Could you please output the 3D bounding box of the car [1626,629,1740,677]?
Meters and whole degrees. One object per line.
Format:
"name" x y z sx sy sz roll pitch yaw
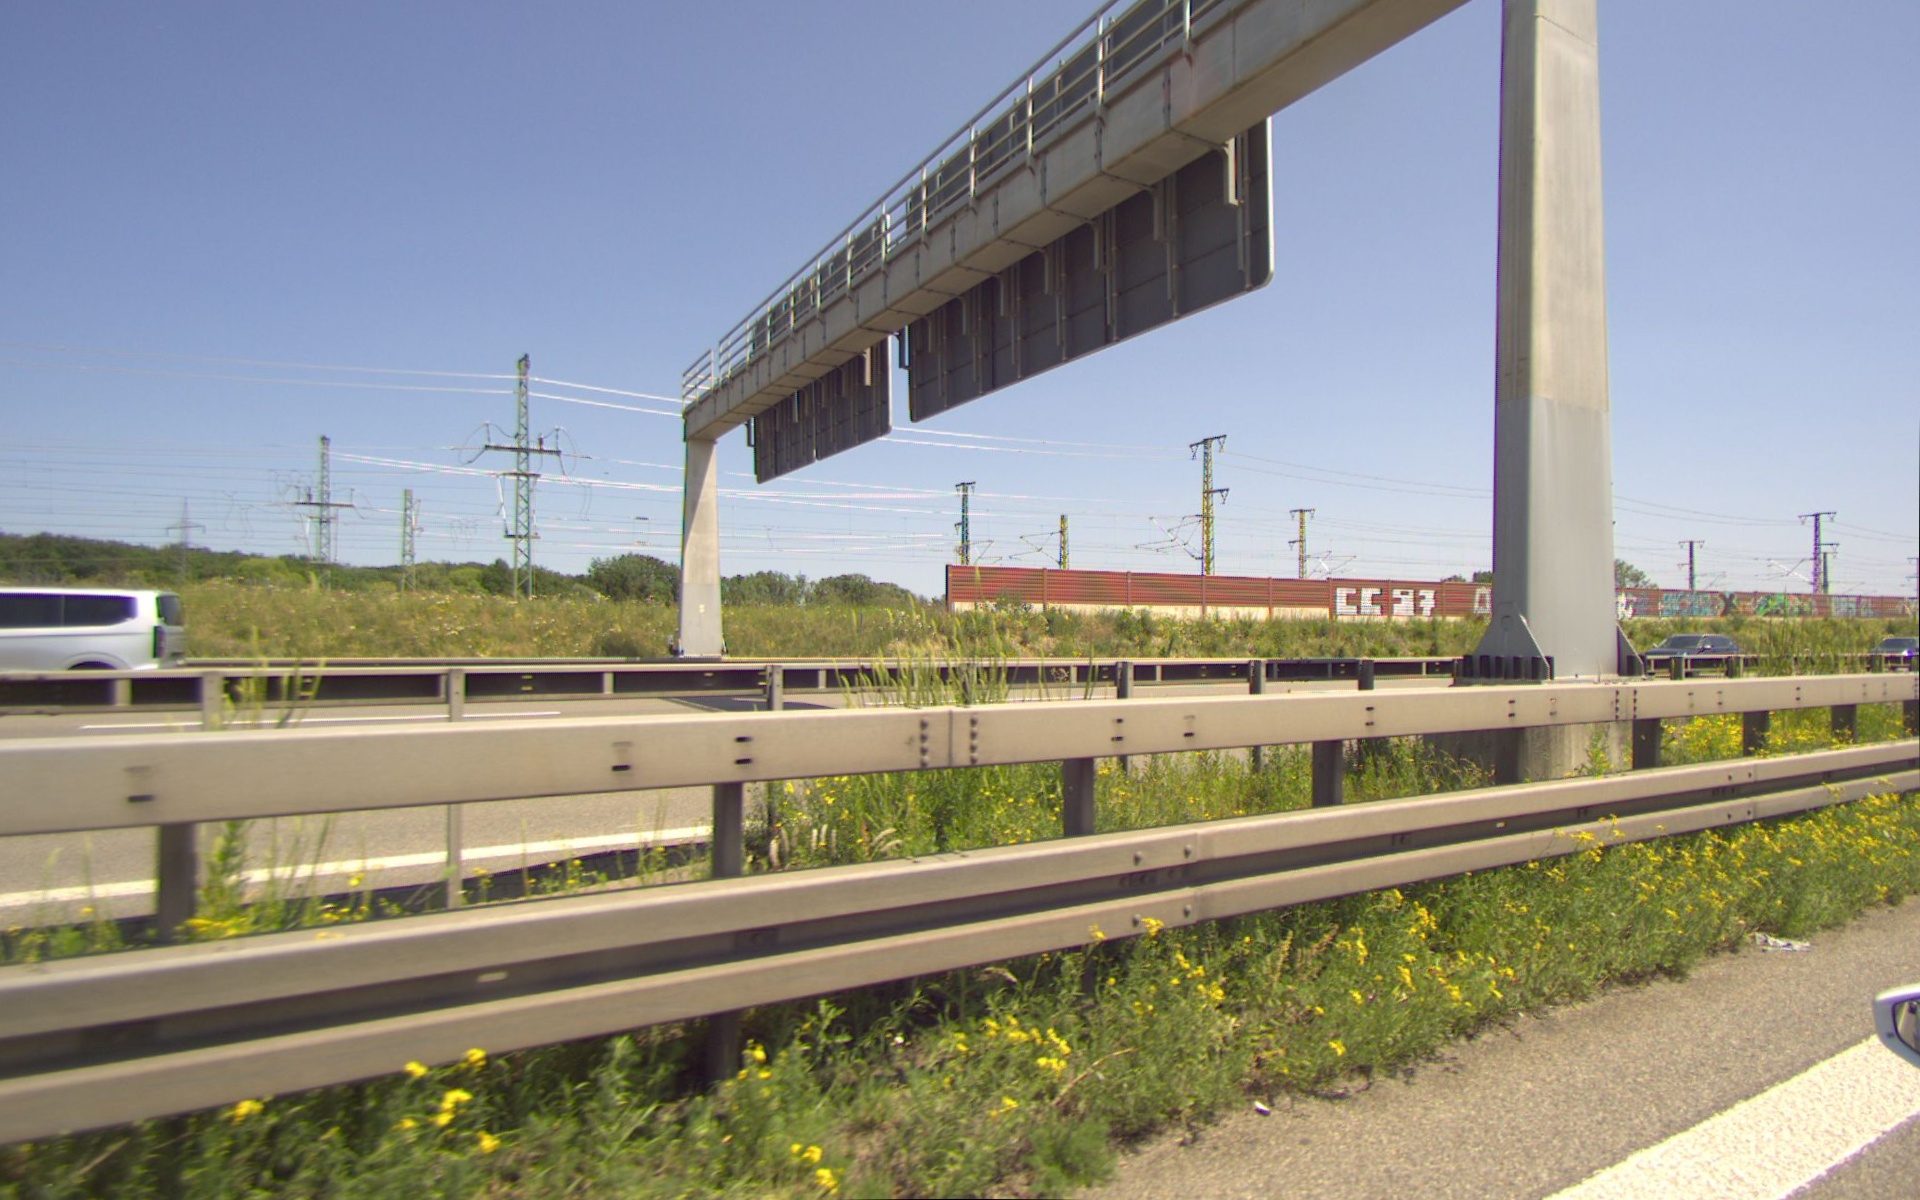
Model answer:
"car" 28.562 2.049 39.662 4.458 1.749 1.985 1 0 -29

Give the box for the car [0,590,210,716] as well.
"car" -15.258 0.802 16.075 4.915 1.911 1.985 1 0 -28

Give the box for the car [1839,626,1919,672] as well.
"car" 44.520 2.373 48.391 4.258 2.040 1.984 2 0 -30
